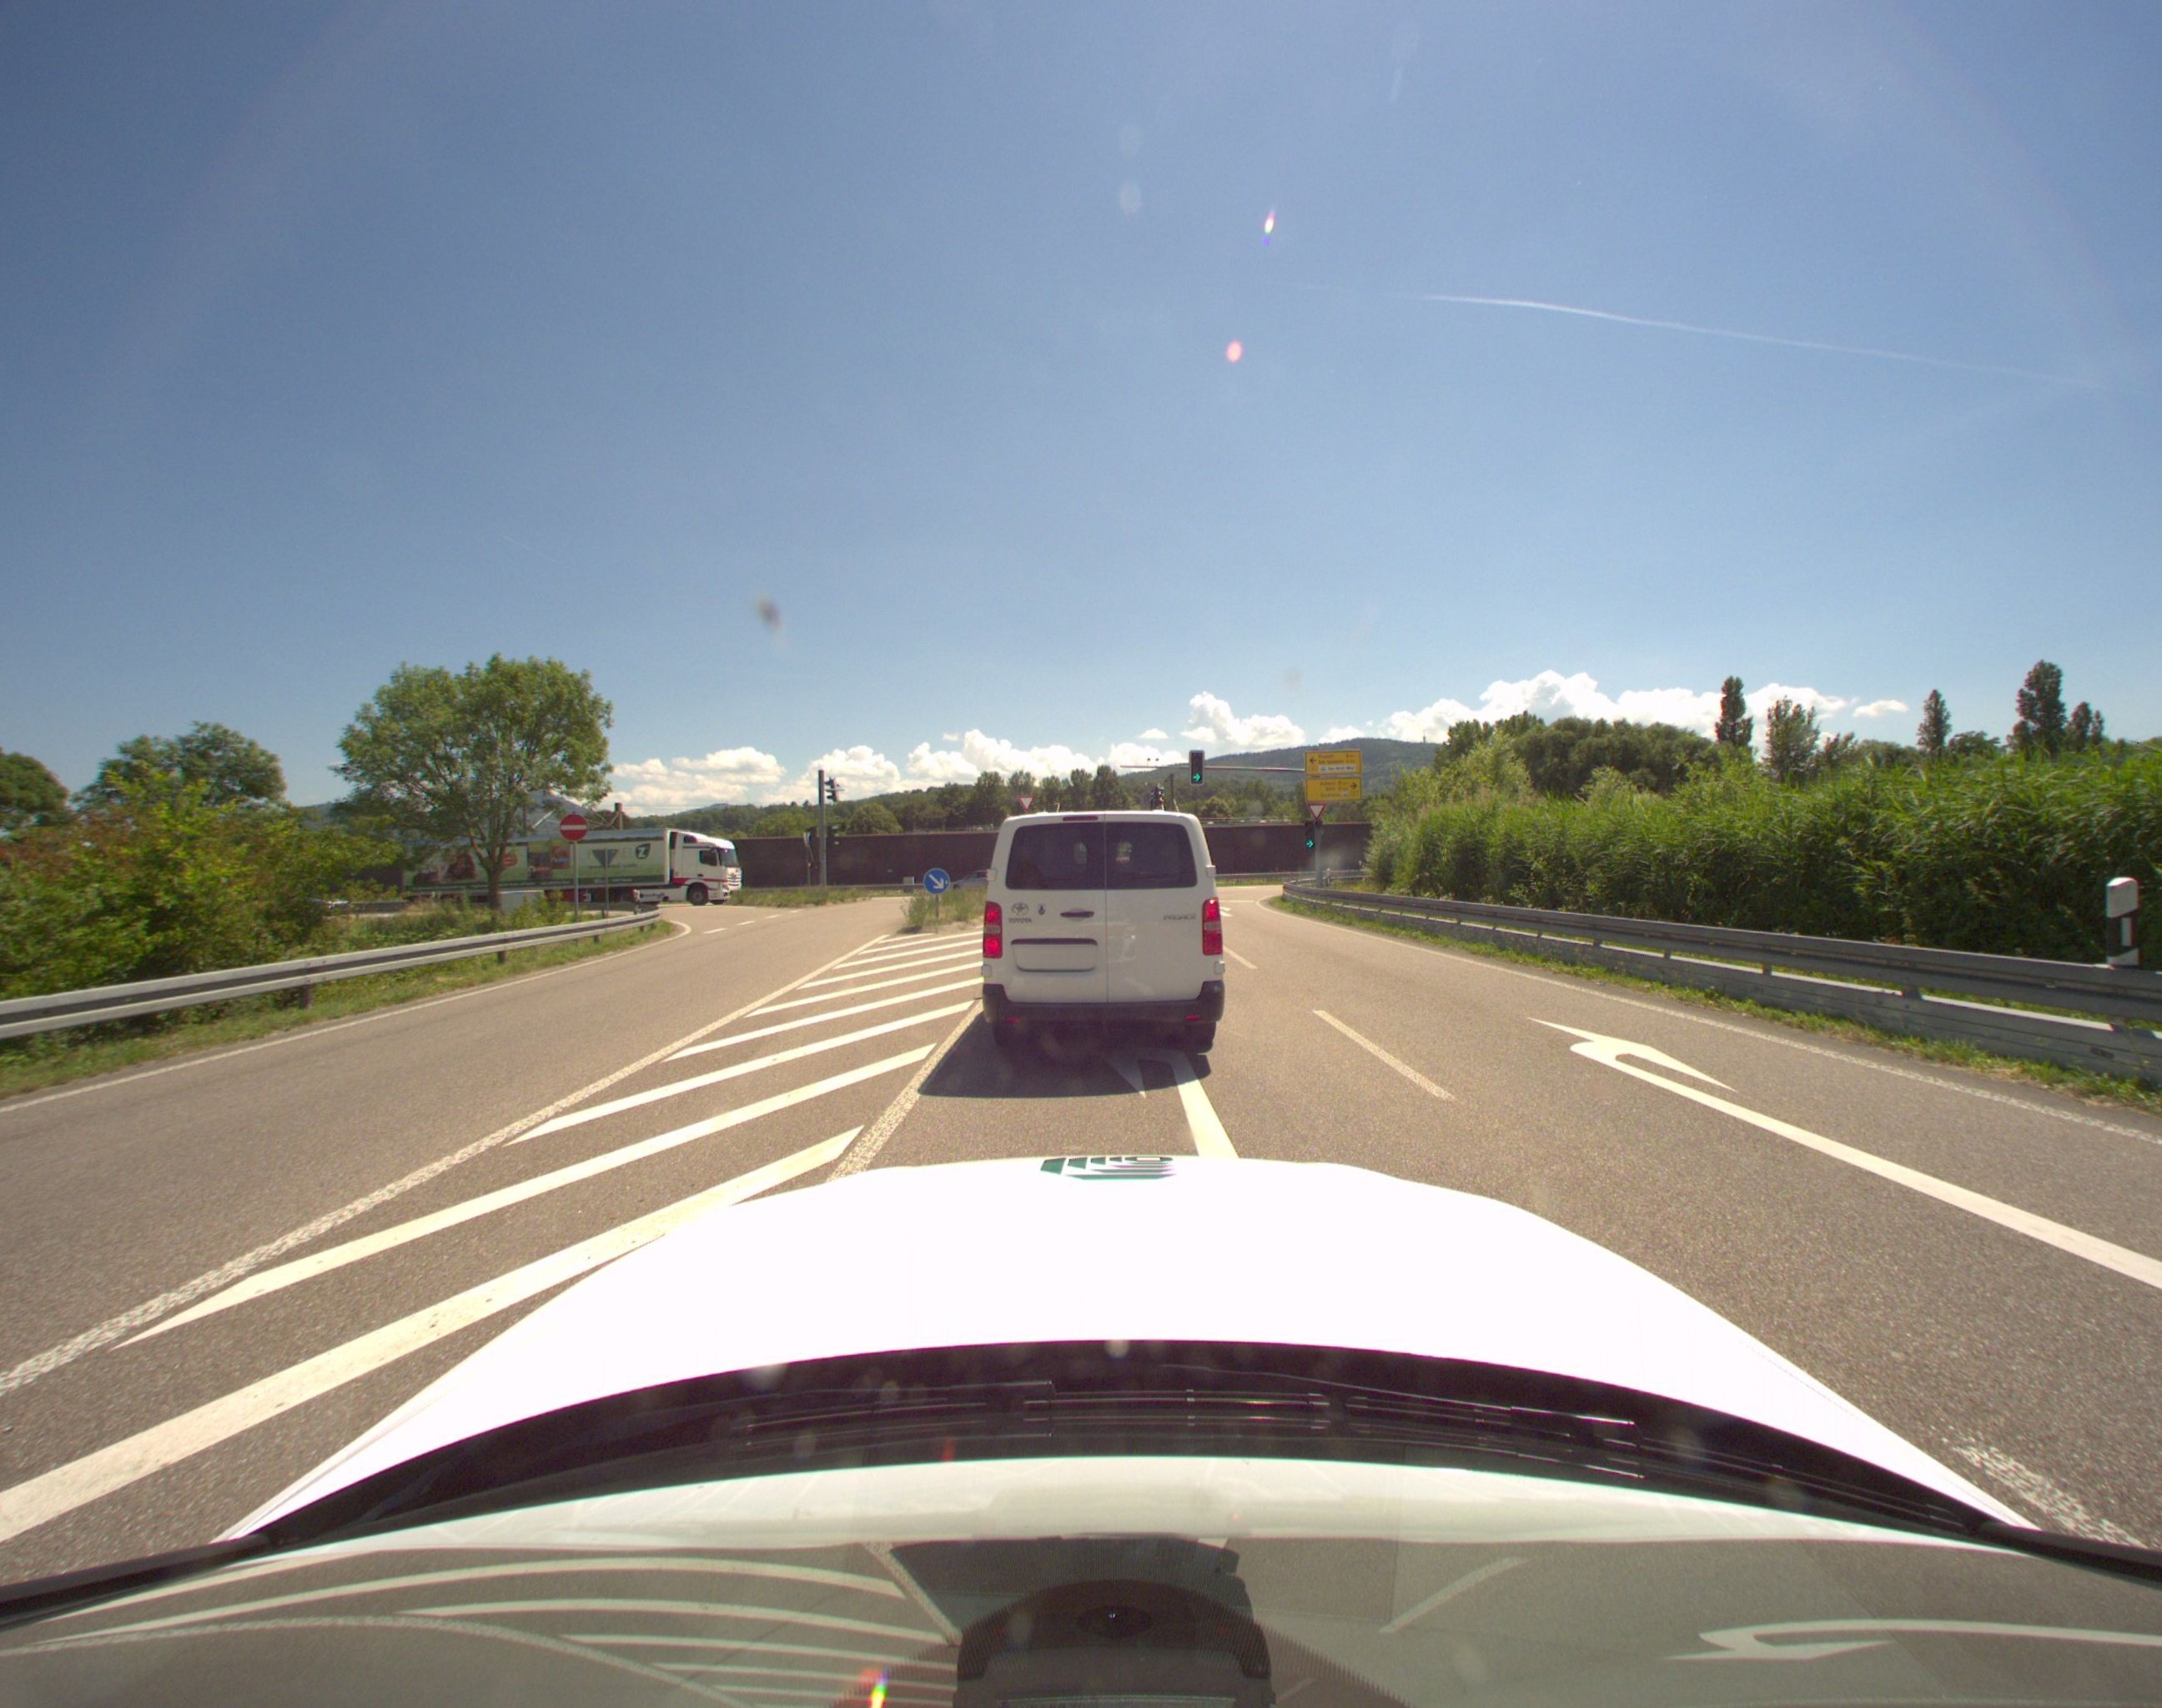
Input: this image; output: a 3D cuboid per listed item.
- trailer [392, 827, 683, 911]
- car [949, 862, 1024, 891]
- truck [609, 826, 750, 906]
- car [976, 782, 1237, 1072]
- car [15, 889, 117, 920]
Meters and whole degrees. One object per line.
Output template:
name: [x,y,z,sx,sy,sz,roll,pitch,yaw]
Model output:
trailer: [-28.215,0.761,42.717,13.098,3.954,3.061,-1,-1,0]
car: [-5.264,1.237,45.017,3.949,1.552,2.012,-2,-1,42]
truck: [-20.957,0.623,42.774,5.746,3.954,3.062,-1,-1,0]
car: [0.238,0.534,7.766,1.808,2.018,4.001,-1,-1,2]
car: [-53.896,2.670,43.287,3.462,1.464,1.554,-1,-1,0]
